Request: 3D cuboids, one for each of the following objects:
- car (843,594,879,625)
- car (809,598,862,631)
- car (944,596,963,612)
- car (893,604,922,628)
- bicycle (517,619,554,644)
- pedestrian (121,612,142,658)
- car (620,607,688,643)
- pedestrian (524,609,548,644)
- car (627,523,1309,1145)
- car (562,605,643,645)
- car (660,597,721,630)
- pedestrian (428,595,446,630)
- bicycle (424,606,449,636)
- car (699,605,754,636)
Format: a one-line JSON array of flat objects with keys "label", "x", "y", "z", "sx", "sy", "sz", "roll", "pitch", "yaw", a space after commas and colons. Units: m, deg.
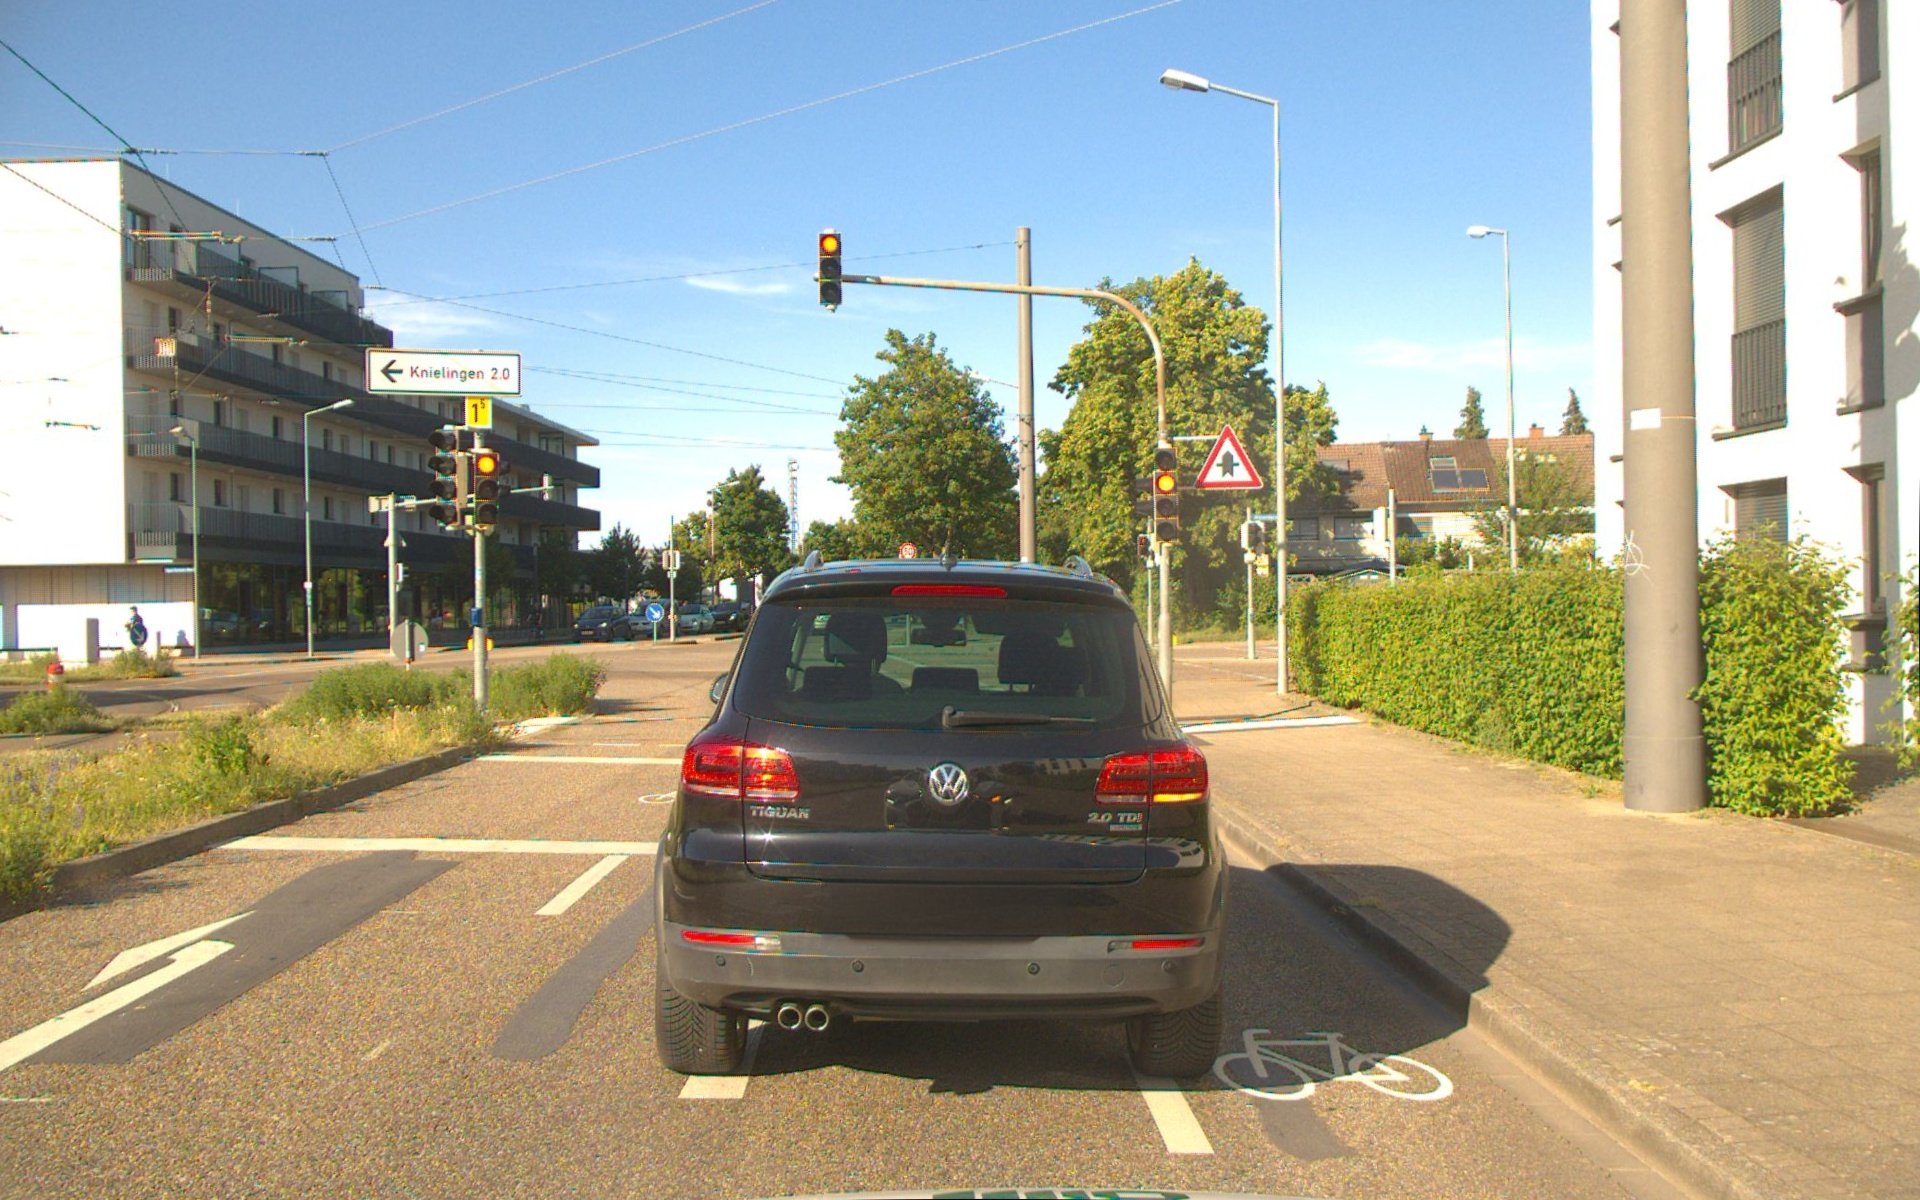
[{"label": "car", "x": -5.876, "y": 0.553, "z": 98.373, "sx": 1.825, "sy": 1.750, "sz": 3.687, "roll": -1, "pitch": 0, "yaw": 1}, {"label": "car", "x": -6.041, "y": 0.698, "z": 80.544, "sx": 1.824, "sy": 1.511, "sz": 4.113, "roll": -1, "pitch": 0, "yaw": 7}, {"label": "car", "x": -0.719, "y": 0.478, "z": 181.010, "sx": 1.953, "sy": 1.713, "sz": 3.998, "roll": 1, "pitch": 0, "yaw": -2}, {"label": "car", "x": -4.076, "y": 1.231, "z": 129.567, "sx": 1.952, "sy": 1.869, "sz": 4.001, "roll": 1, "pitch": 0, "yaw": 2}, {"label": "bicycle", "x": -18.388, "y": 1.356, "z": 71.685, "sx": 0.755, "sy": 1.006, "sz": 2.434, "roll": 1, "pitch": 0, "yaw": 6}, {"label": "pedestrian", "x": -27.344, "y": 1.154, "z": 54.606, "sx": 0.433, "sy": 1.529, "sz": 0.517, "roll": 1, "pitch": -1, "yaw": -6}, {"label": "car", "x": -14.443, "y": 1.171, "z": 78.372, "sx": 1.951, "sy": 1.601, "sz": 4.342, "roll": 1, "pitch": 0, "yaw": 7}, {"label": "pedestrian", "x": -18.378, "y": 1.128, "z": 71.647, "sx": 0.696, "sy": 1.499, "sz": 0.954, "roll": 1, "pitch": 0, "yaw": 6}, {"label": "car", "x": -0.001, "y": 0.647, "z": 6.504, "sx": 1.831, "sy": 1.666, "sz": 3.999, "roll": 1, "pitch": 0, "yaw": -1}, {"label": "car", "x": -15.360, "y": 1.057, "z": 71.206, "sx": 1.951, "sy": 1.601, "sz": 4.343, "roll": 1, "pitch": 0, "yaw": 9}, {"label": "car", "x": -13.796, "y": 0.685, "z": 84.896, "sx": 1.951, "sy": 1.601, "sz": 4.342, "roll": 1, "pitch": 0, "yaw": 7}, {"label": "pedestrian", "x": -23.456, "y": 0.568, "z": 74.182, "sx": 0.630, "sy": 1.535, "sz": 0.595, "roll": 1, "pitch": -1, "yaw": -3}, {"label": "bicycle", "x": -23.462, "y": 0.930, "z": 74.139, "sx": 0.618, "sy": 1.355, "sz": 1.911, "roll": 1, "pitch": 0, "yaw": -4}, {"label": "car", "x": -12.807, "y": 1.110, "z": 90.890, "sx": 1.951, "sy": 1.601, "sz": 4.342, "roll": 1, "pitch": 0, "yaw": 7}]
